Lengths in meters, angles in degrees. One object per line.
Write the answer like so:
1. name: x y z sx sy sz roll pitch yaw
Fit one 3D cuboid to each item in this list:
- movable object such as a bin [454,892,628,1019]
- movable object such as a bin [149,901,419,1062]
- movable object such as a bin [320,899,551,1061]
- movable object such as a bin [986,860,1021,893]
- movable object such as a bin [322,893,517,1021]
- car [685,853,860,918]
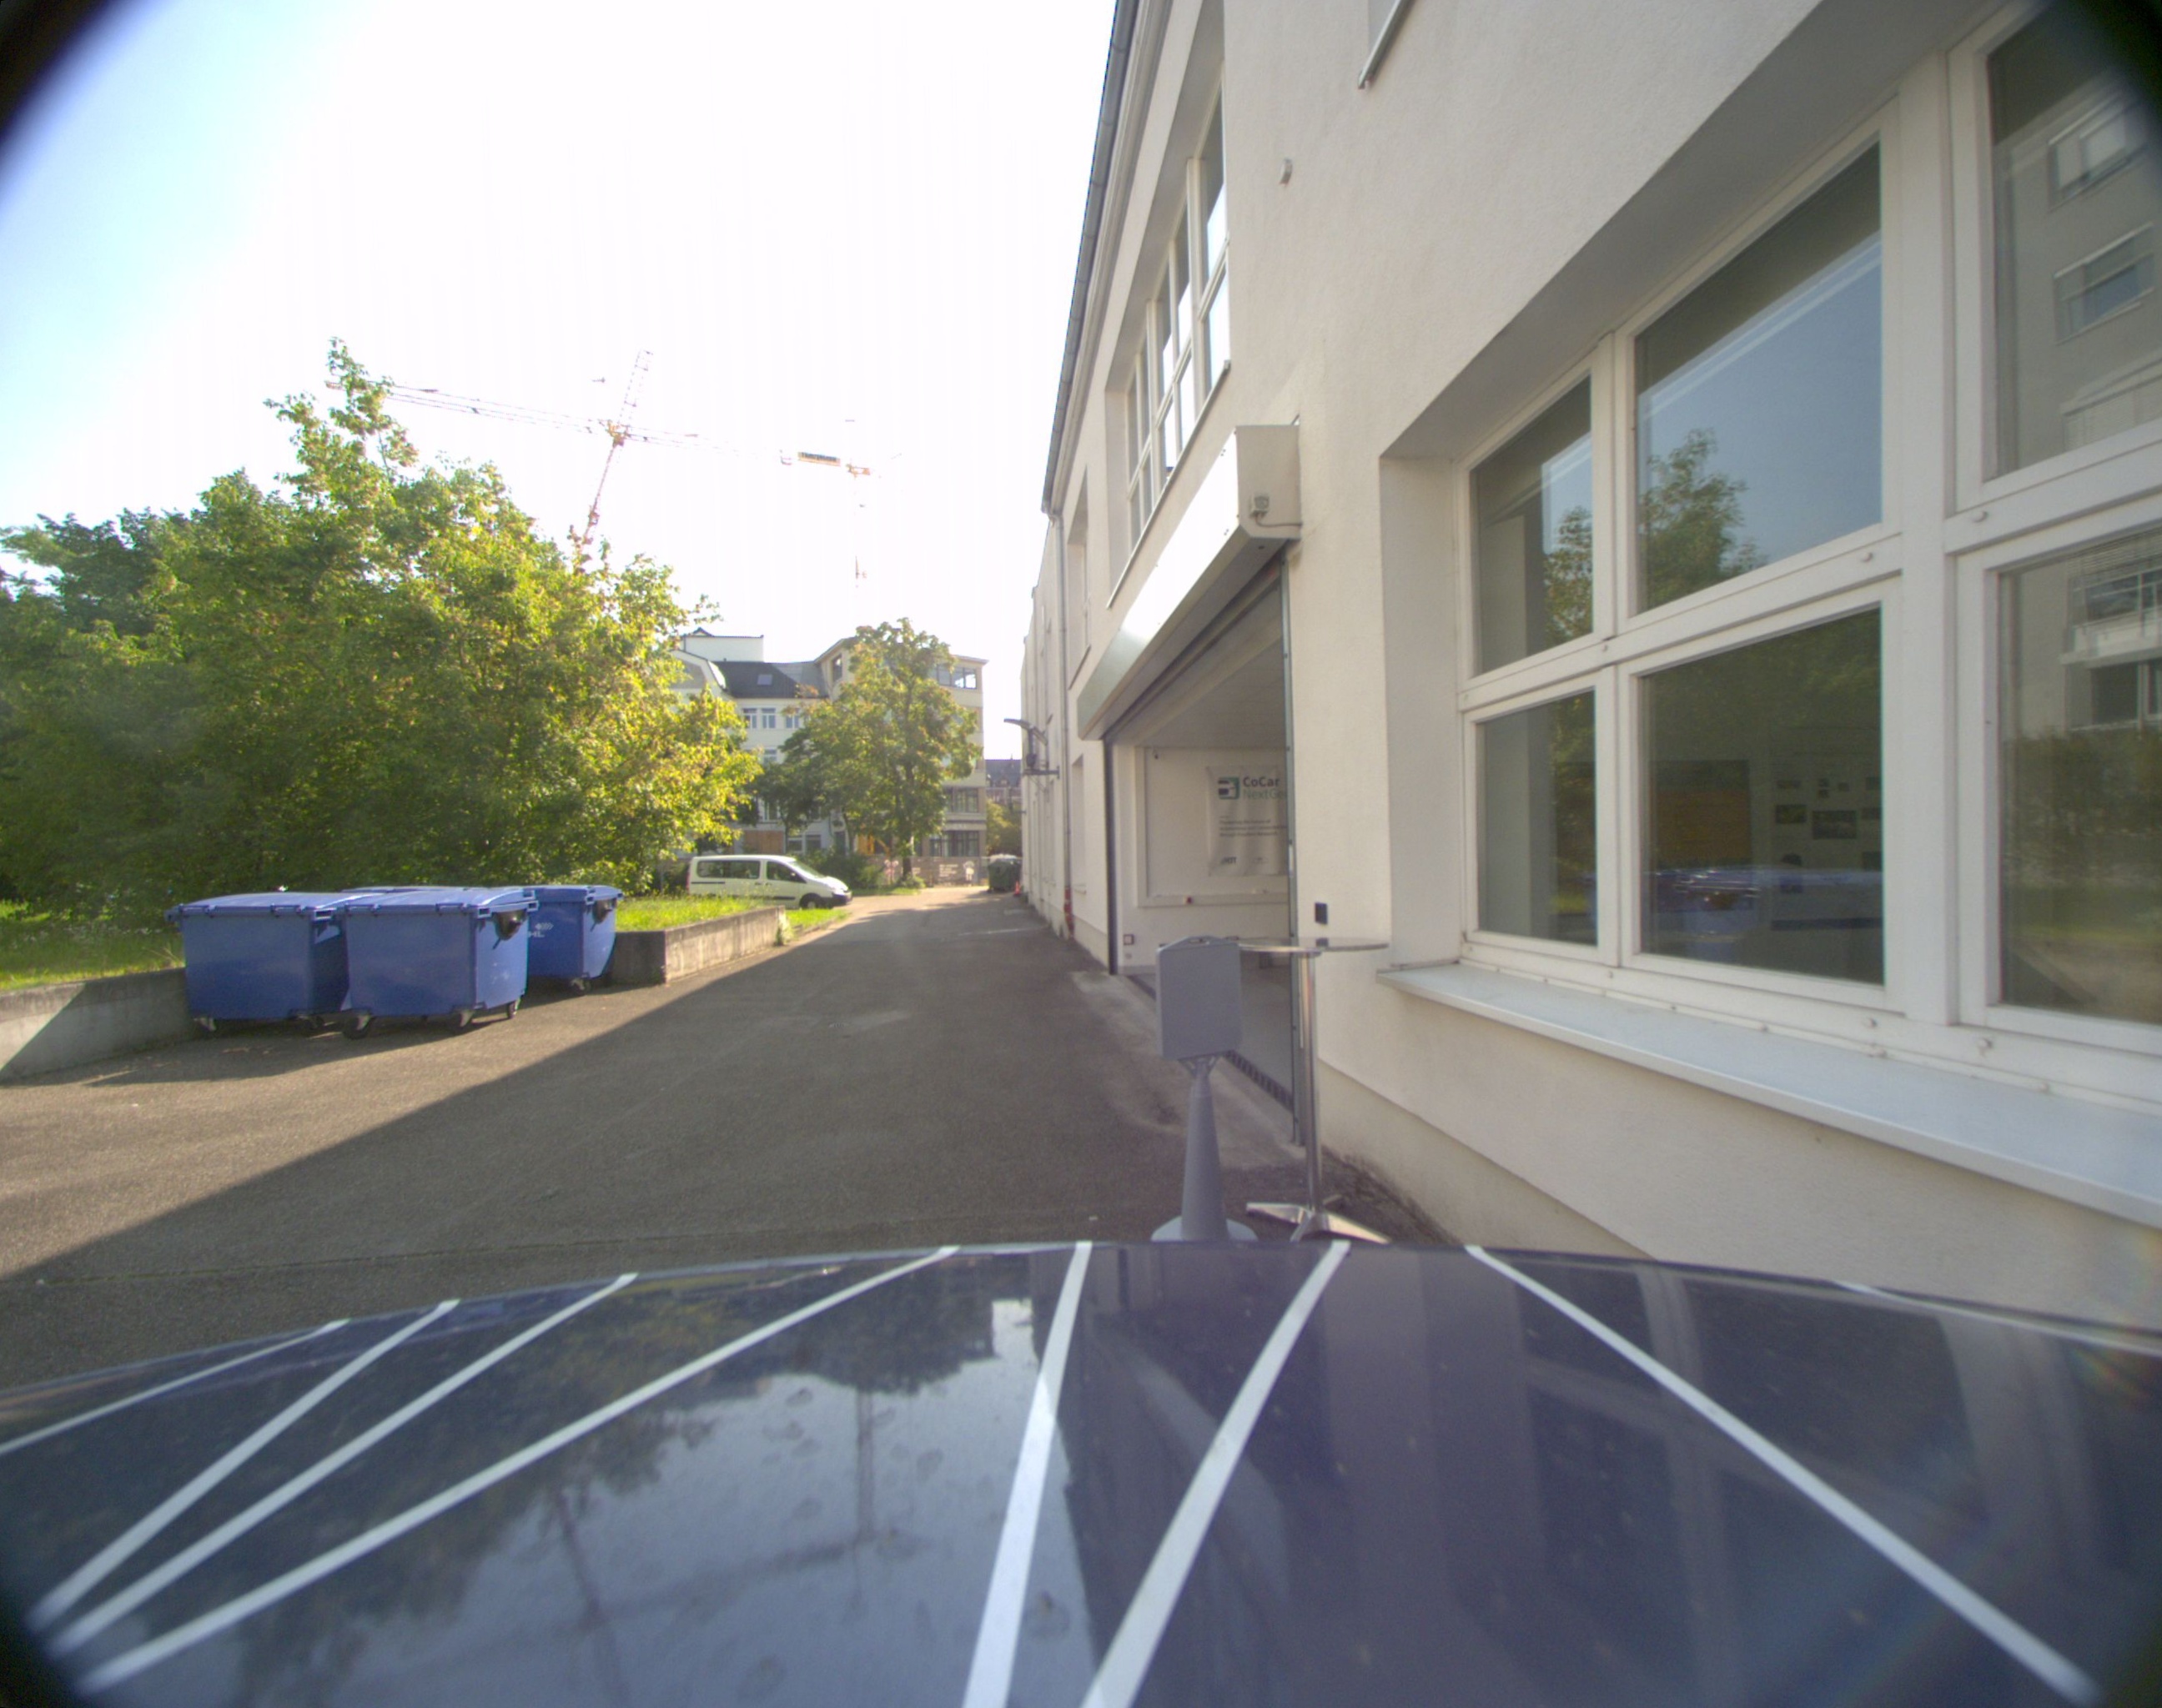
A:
1. movable object such as a bin: -6.400 1.159 9.116 1.200 1.320 1.274 -1 0 -6
2. movable object such as a bin: -7.671 1.173 7.432 1.257 1.320 1.274 -1 0 -6
3. movable object such as a bin: -6.302 1.176 7.547 1.214 1.343 1.274 -1 0 -8
4. movable object such as a bin: -3.529 1.002 34.512 1.525 1.457 1.274 -1 0 -6
5. movable object such as a bin: -7.772 1.165 9.028 1.200 1.320 1.274 -1 0 -6
6. car: -9.733 0.969 24.266 4.792 1.920 1.908 -1 0 -4
